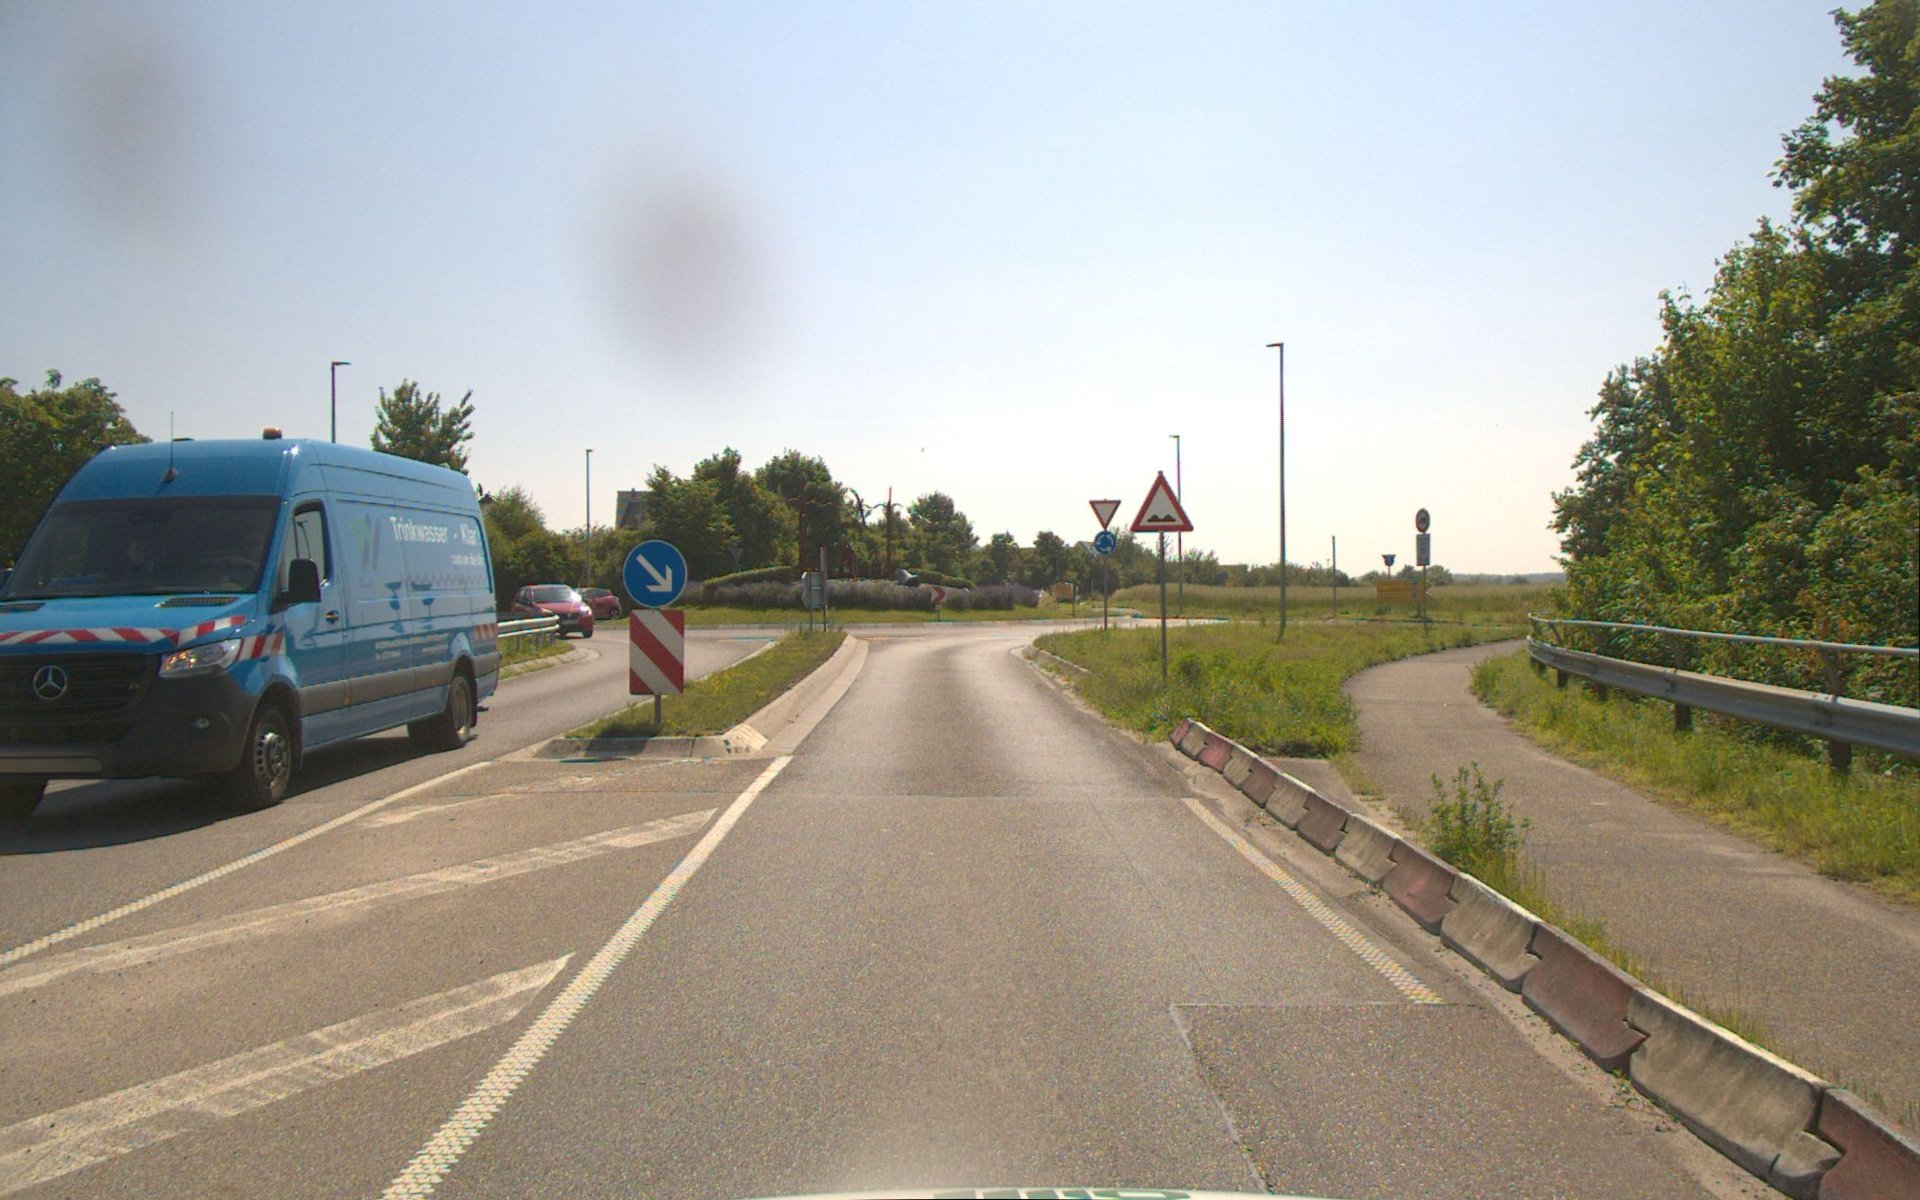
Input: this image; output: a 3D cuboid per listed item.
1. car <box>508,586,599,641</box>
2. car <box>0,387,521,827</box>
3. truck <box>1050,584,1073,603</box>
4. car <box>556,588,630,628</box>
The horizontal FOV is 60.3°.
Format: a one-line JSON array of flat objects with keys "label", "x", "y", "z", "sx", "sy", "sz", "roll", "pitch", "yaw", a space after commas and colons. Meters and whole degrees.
[{"label": "car", "x": -12.024, "y": 0.399, "z": 48.784, "sx": 1.610, "sy": 1.517, "sz": 3.764, "roll": -1, "pitch": 0, "yaw": -30}, {"label": "car", "x": -5.583, "y": 0.037, "z": 13.818, "sx": 1.953, "sy": 2.657, "sz": 7.288, "roll": -2, "pitch": 0, "yaw": -1}, {"label": "truck", "x": 11.534, "y": -0.740, "z": 187.519, "sx": 1.951, "sy": 2.049, "sz": 4.003, "roll": 0, "pitch": 0, "yaw": 14}, {"label": "car", "x": -15.524, "y": 0.308, "z": 70.162, "sx": 1.707, "sy": 1.549, "sz": 3.835, "roll": -1, "pitch": 1, "yaw": 10}]
